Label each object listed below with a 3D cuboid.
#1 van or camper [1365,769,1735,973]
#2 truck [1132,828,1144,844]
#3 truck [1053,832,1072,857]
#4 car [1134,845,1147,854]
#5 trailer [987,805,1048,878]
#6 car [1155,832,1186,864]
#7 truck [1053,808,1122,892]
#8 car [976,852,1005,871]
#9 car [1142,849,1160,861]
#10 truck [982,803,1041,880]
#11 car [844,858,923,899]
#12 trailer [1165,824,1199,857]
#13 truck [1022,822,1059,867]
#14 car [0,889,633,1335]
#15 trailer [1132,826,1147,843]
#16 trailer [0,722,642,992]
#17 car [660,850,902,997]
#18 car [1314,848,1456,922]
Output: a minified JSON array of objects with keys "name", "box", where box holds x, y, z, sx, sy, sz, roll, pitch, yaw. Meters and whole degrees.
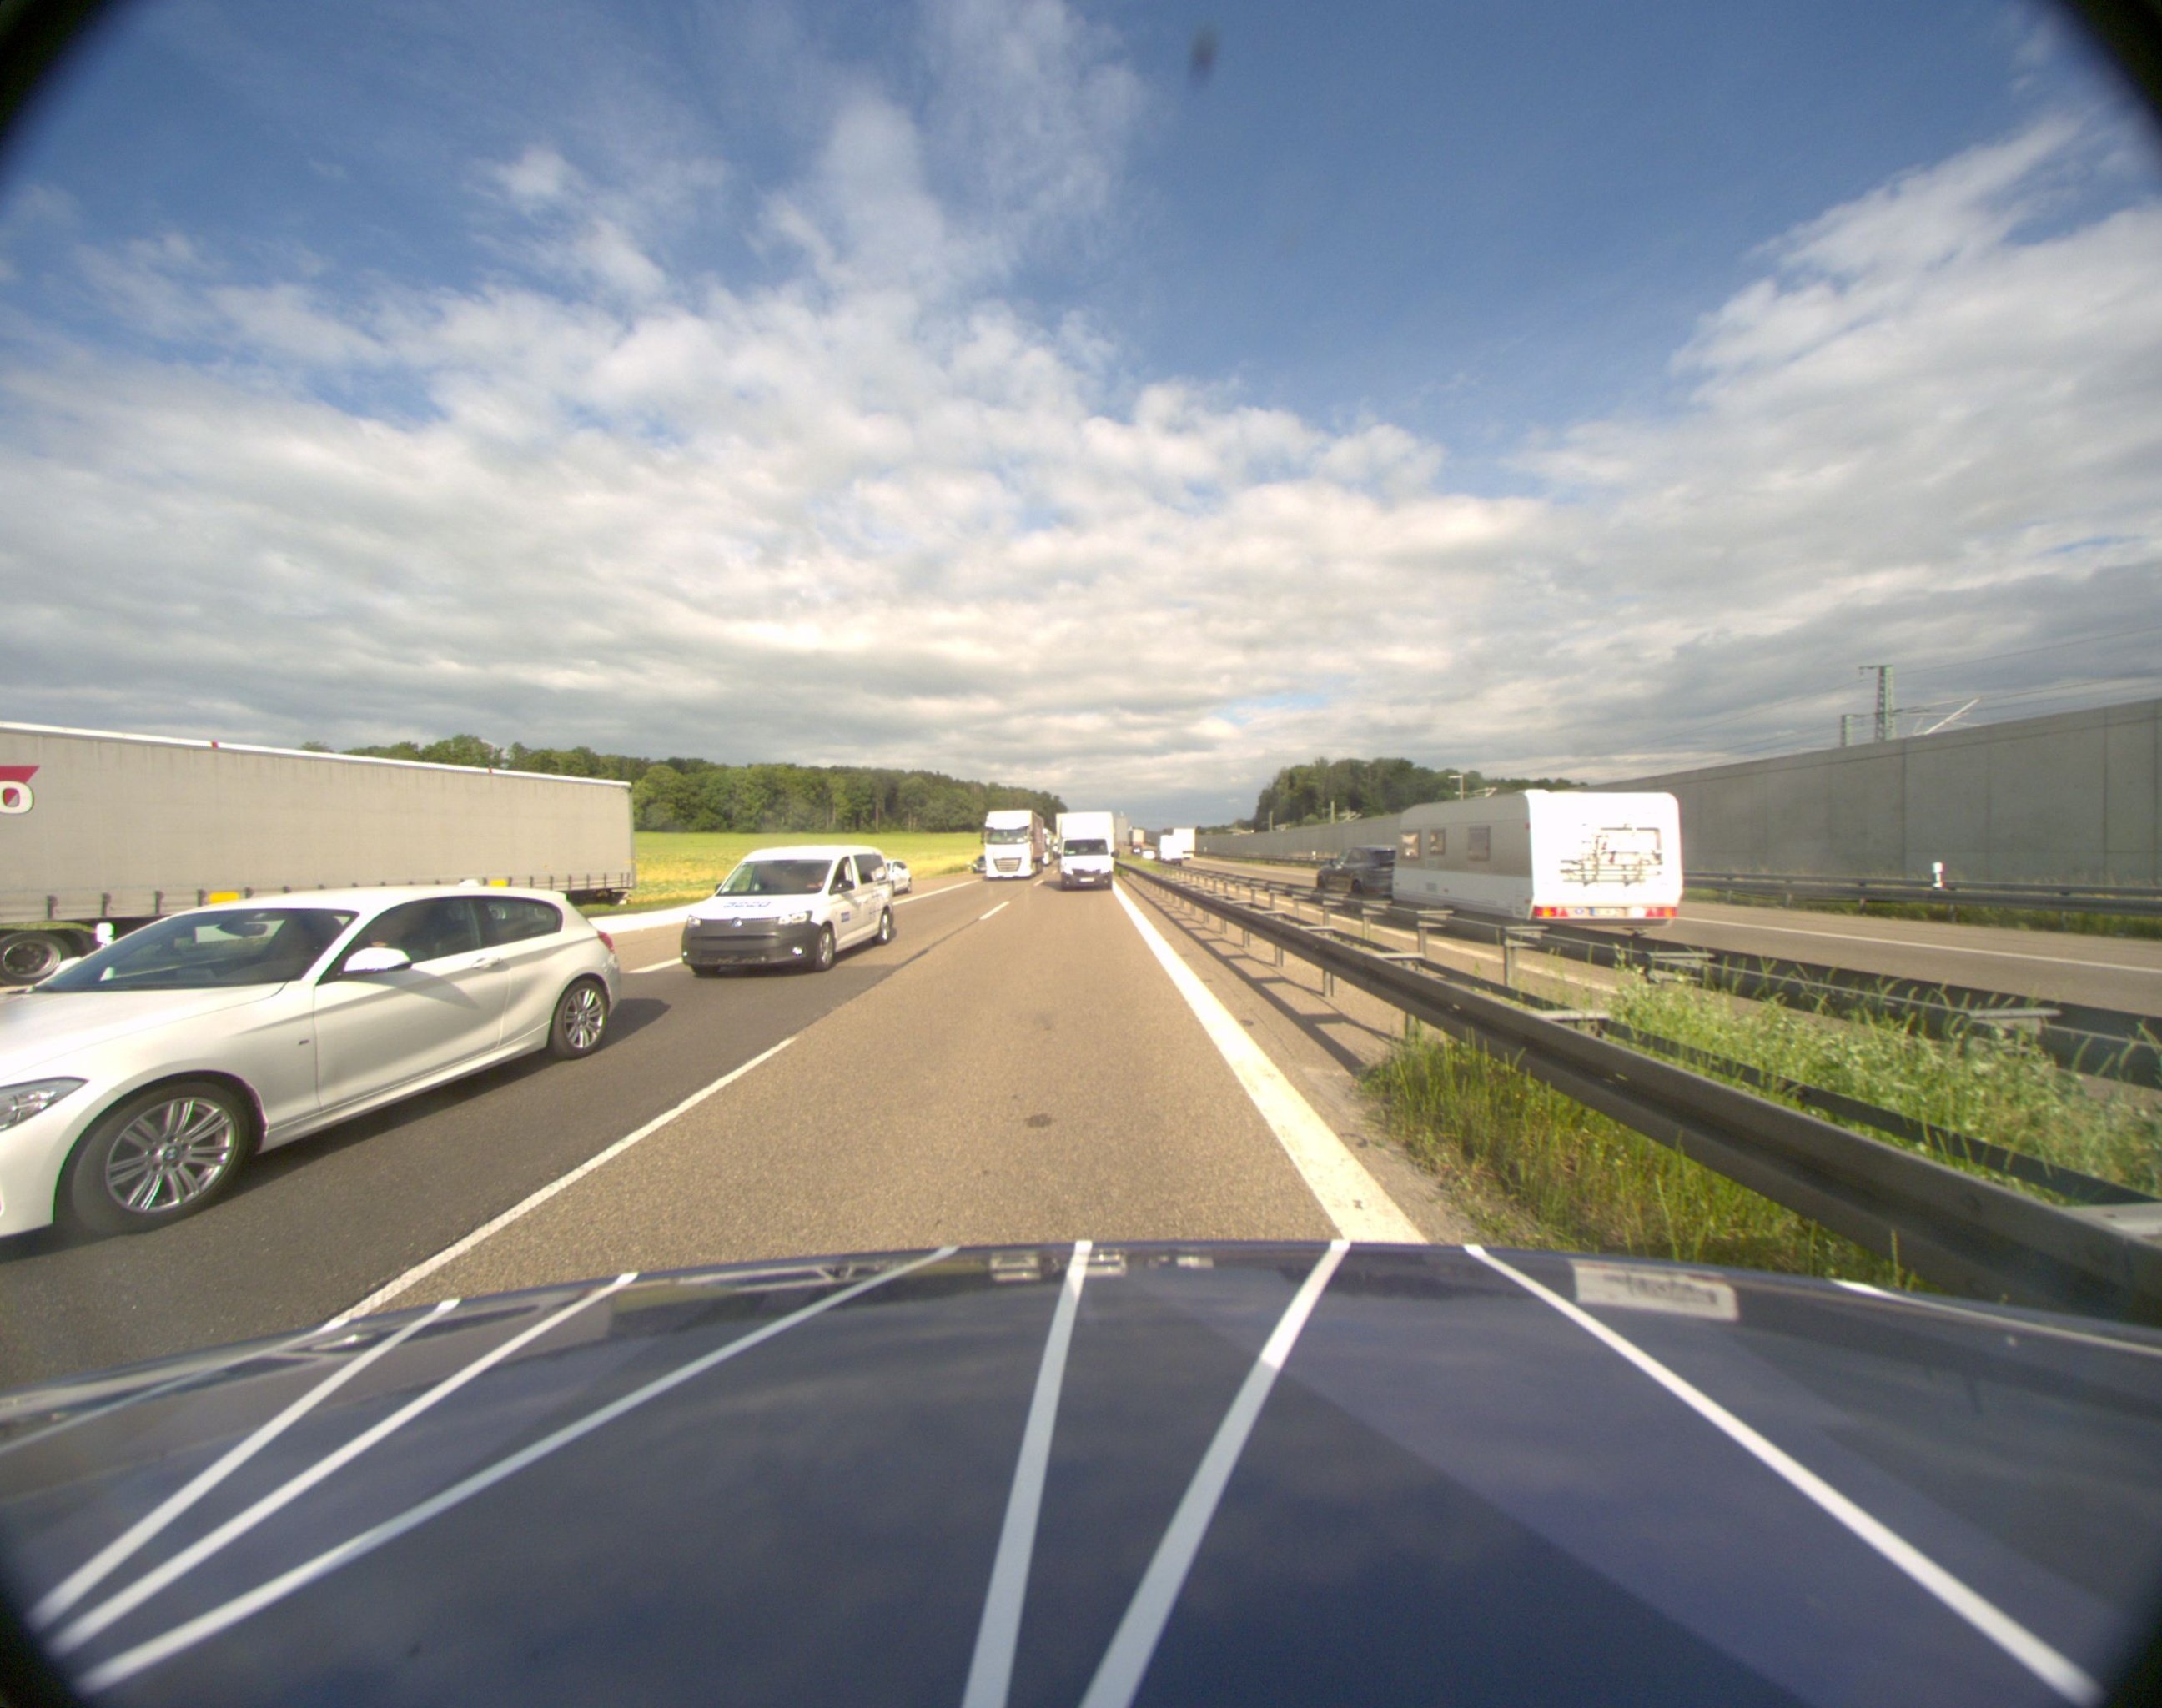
[{"name":"van or camper","box":[7.621,0.206,13.743,2.258,2.688,7.169,-1,0,0]},{"name":"truck","box":[14.782,-4.793,198.343,2.692,4.045,5.878,-1,1,1]},{"name":"truck","box":[-3.132,-1.634,133.614,2.946,4.094,16.207,-1,0,0]},{"name":"car","box":[9.005,-0.685,115.780,1.656,1.443,3.955,-1,1,0]},{"name":"trailer","box":[-3.978,-0.847,51.129,2.742,4.137,14.016,-2,1,0]},{"name":"car","box":[8.238,-0.561,70.407,2.109,2.854,5.636,-1,1,0]},{"name":"truck","box":[0.297,-0.189,34.827,2.500,3.082,12.037,-2,0,0]},{"name":"car","box":[-7.219,0.593,60.951,1.707,1.345,4.183,-3,0,1]},{"name":"car","box":[8.468,0.106,92.530,1.878,1.443,4.232,-1,1,1]},{"name":"truck","box":[-4.012,-0.730,44.831,2.736,4.150,5.766,-2,1,0]},{"name":"car","box":[-7.792,0.921,30.411,1.871,1.424,4.629,-2,0,0]},{"name":"trailer","box":[13.237,-1.677,100.581,2.797,4.054,13.518,0,1,0]},{"name":"truck","box":[-3.952,-0.926,76.753,2.946,4.094,12.523,-1,1,0]},{"name":"car","box":[-4.803,1.059,4.492,1.708,1.424,4.232,-2,0,1]},{"name":"trailer","box":[14.751,-4.760,191.972,2.690,4.014,13.790,-1,0,0]},{"name":"trailer","box":[-16.523,0.022,16.662,2.739,4.136,13.843,-2,0,15]},{"name":"car","box":[-4.270,0.849,11.752,1.729,1.746,4.702,-3,1,1]},{"name":"car","box":[7.642,0.695,19.603,1.915,1.662,4.361,-1,0,0]}]
